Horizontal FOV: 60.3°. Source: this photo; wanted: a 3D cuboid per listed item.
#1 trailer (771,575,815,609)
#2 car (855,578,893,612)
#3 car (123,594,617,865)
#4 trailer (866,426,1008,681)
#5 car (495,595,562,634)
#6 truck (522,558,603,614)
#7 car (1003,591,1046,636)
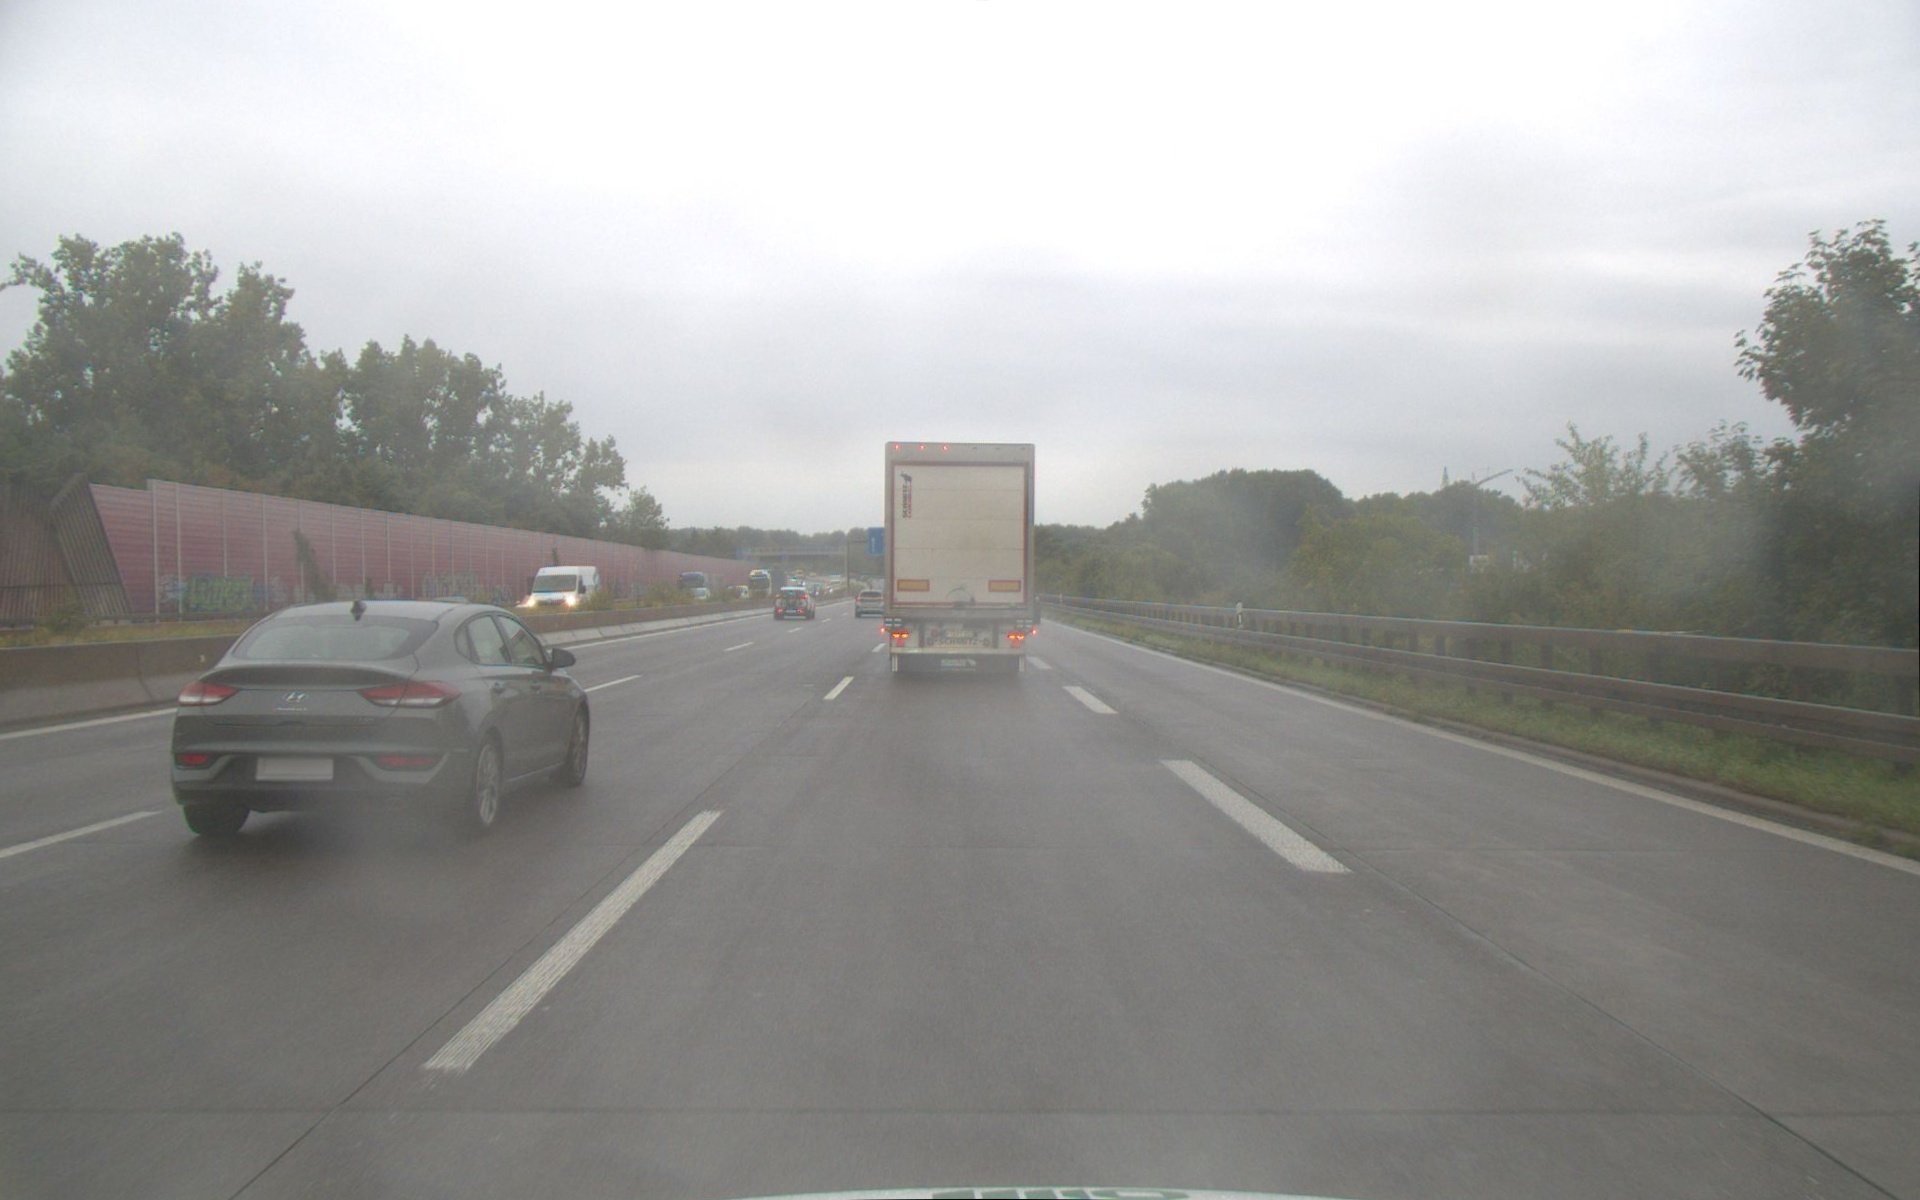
[{"bbox_3d":[-8.190,-0.409,81.560,1.778,1.653,4.568,0,1,-1],"label":"trailer"},{"bbox_3d":[-4.616,-0.293,88.804,1.855,1.753,4.000,1,0,-1],"label":"car"},{"bbox_3d":[-3.659,0.688,11.279,1.690,1.427,4.828,0,0,-1],"label":"car"},{"bbox_3d":[-0.472,-0.823,35.072,2.295,4.230,14.824,1,0,-1],"label":"trailer"},{"bbox_3d":[-20.161,0.644,77.412,1.953,1.769,4.466,0,0,0],"label":"car"},{"bbox_3d":[-16.536,-0.582,69.109,2.101,2.244,5.419,0,0,0],"label":"truck"},{"bbox_3d":[2.997,0.608,77.424,1.858,1.983,4.000,1,0,0],"label":"car"}]
